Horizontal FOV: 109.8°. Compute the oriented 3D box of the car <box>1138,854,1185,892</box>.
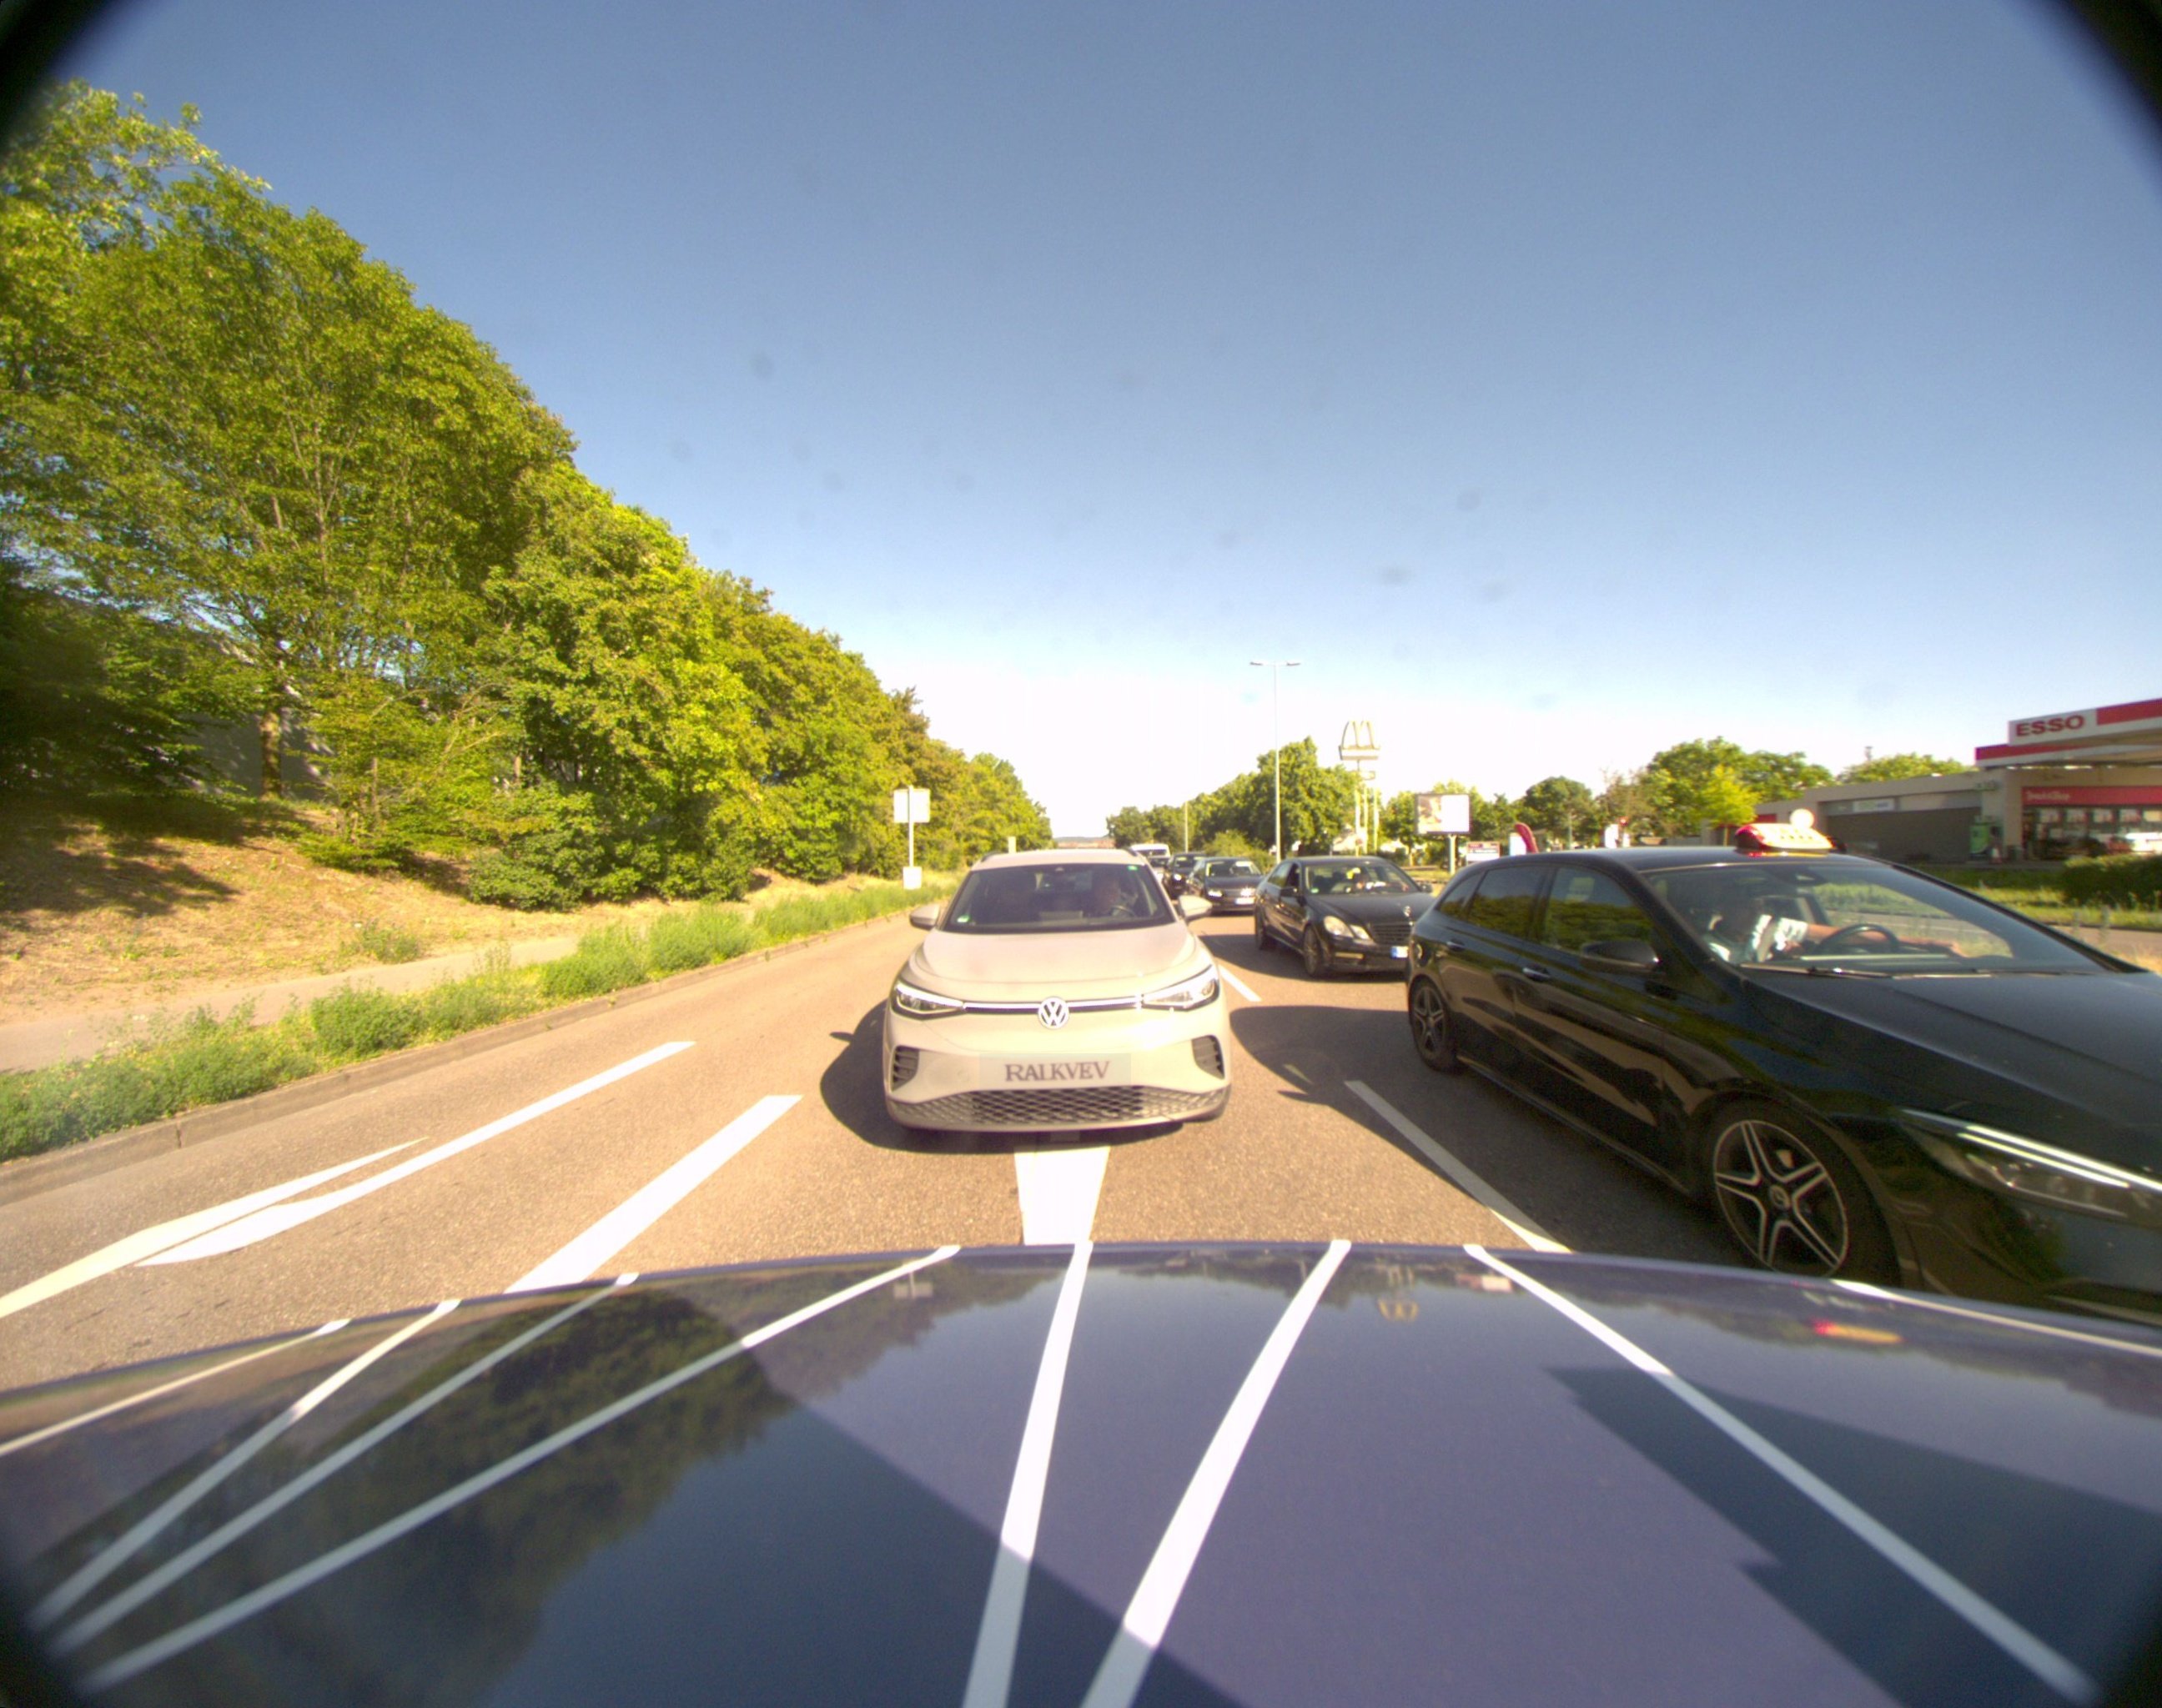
[{"bbox_3d":[3.569,0.790,34.184,1.635,1.547,3.777,-2,0,0],"label":"car"}]

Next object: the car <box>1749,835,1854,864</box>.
[{"bbox_3d":[37.502,-0.229,39.693,1.682,1.401,3.978,1,1,0],"label":"car"}]

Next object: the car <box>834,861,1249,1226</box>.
[{"bbox_3d":[-0.186,0.898,5.721,1.862,1.573,4.403,-2,0,0],"label":"car"}]

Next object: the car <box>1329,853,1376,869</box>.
[{"bbox_3d":[25.479,0.660,71.322,3.983,1.401,1.761,1,1,-22],"label":"car"}]

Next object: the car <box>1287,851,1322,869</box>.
[{"bbox_3d":[18.794,0.462,64.068,1.763,1.401,3.978,1,1,0],"label":"car"}]

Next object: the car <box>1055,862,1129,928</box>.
[{"bbox_3d":[0.260,1.038,20.946,1.763,1.482,4.402,-2,1,0],"label":"car"}]

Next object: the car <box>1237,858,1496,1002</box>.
[{"bbox_3d":[3.584,0.849,10.518,1.868,1.430,4.402,-2,1,0],"label":"car"}]

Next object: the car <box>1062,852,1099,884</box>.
[{"bbox_3d":[-0.047,0.712,39.874,1.763,1.482,4.402,-2,1,0],"label":"car"}]

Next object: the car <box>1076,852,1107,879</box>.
[{"bbox_3d":[0.600,0.690,47.040,1.763,1.482,4.402,-2,1,0],"label":"car"}]

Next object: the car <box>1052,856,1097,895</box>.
[{"bbox_3d":[-0.261,0.880,33.052,1.763,1.482,4.402,-2,1,0],"label":"car"}]

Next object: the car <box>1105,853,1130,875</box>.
[{"bbox_3d":[2.928,0.816,62.133,1.763,1.607,4.402,-2,1,0],"label":"car"}]

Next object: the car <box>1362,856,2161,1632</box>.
[{"bbox_3d":[3.086,0.816,3.672,1.763,1.482,4.402,-2,1,0],"label":"car"}]

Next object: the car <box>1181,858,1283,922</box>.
[{"bbox_3d":[3.868,0.859,20.235,1.797,1.419,4.287,-2,0,0],"label":"car"}]

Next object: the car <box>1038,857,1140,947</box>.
[{"bbox_3d":[0.131,0.871,15.778,1.763,1.482,4.402,-2,1,0],"label":"car"}]

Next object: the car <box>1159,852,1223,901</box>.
[{"bbox_3d":[3.900,0.756,27.494,1.674,1.607,3.879,-2,0,0],"label":"car"}]

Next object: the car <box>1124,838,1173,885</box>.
[{"bbox_3d":[3.648,0.384,42.122,2.019,2.349,6.523,-2,0,0],"label":"car"}]
